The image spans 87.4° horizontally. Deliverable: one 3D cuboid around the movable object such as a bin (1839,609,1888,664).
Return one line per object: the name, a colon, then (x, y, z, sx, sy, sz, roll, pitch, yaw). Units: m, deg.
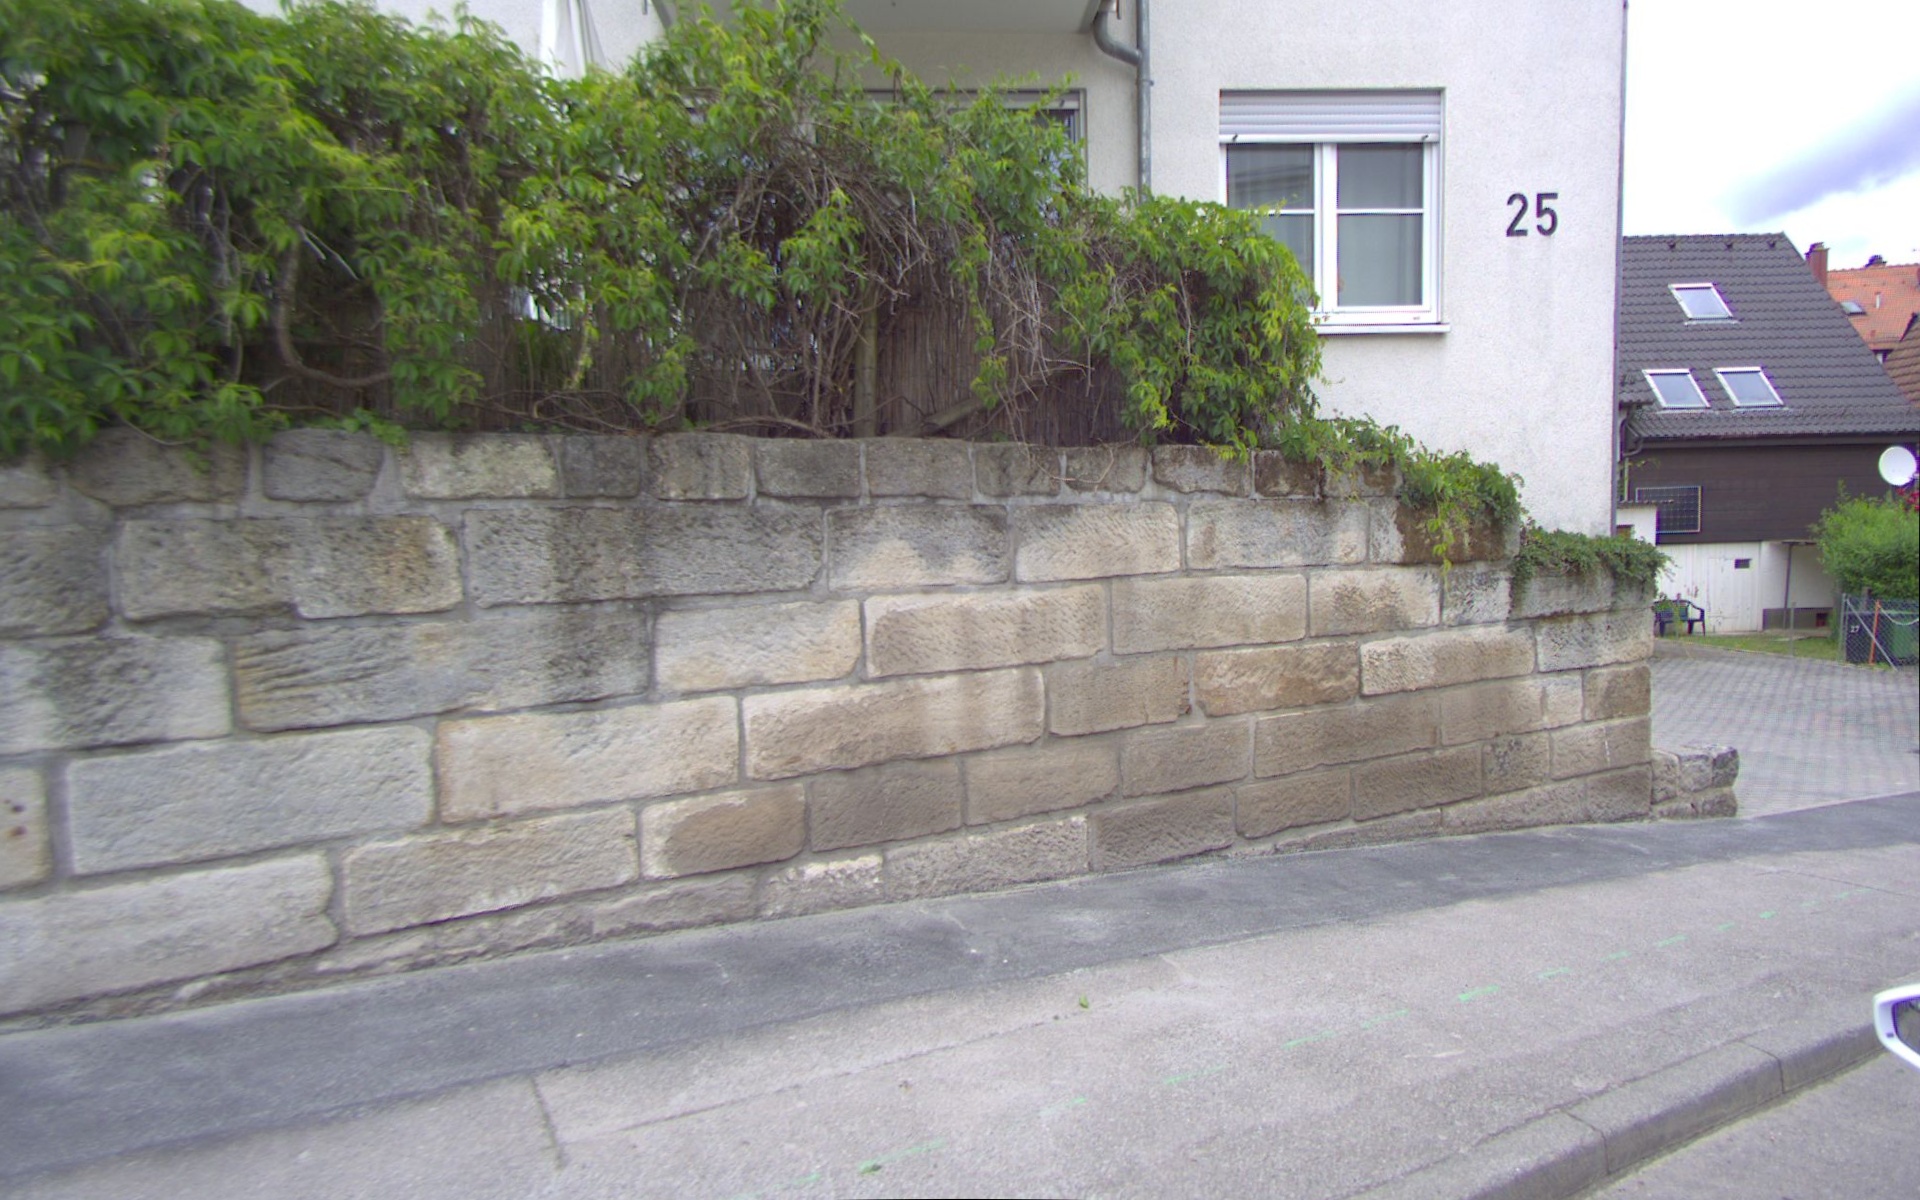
movable object such as a bin: (15.562, 0.629, 17.299, 0.481, 0.905, 0.376, 1, 2, -9)

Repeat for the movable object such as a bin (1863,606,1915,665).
movable object such as a bin: (16.088, 0.611, 17.399, 0.499, 0.994, 0.399, 1, 1, -9)
